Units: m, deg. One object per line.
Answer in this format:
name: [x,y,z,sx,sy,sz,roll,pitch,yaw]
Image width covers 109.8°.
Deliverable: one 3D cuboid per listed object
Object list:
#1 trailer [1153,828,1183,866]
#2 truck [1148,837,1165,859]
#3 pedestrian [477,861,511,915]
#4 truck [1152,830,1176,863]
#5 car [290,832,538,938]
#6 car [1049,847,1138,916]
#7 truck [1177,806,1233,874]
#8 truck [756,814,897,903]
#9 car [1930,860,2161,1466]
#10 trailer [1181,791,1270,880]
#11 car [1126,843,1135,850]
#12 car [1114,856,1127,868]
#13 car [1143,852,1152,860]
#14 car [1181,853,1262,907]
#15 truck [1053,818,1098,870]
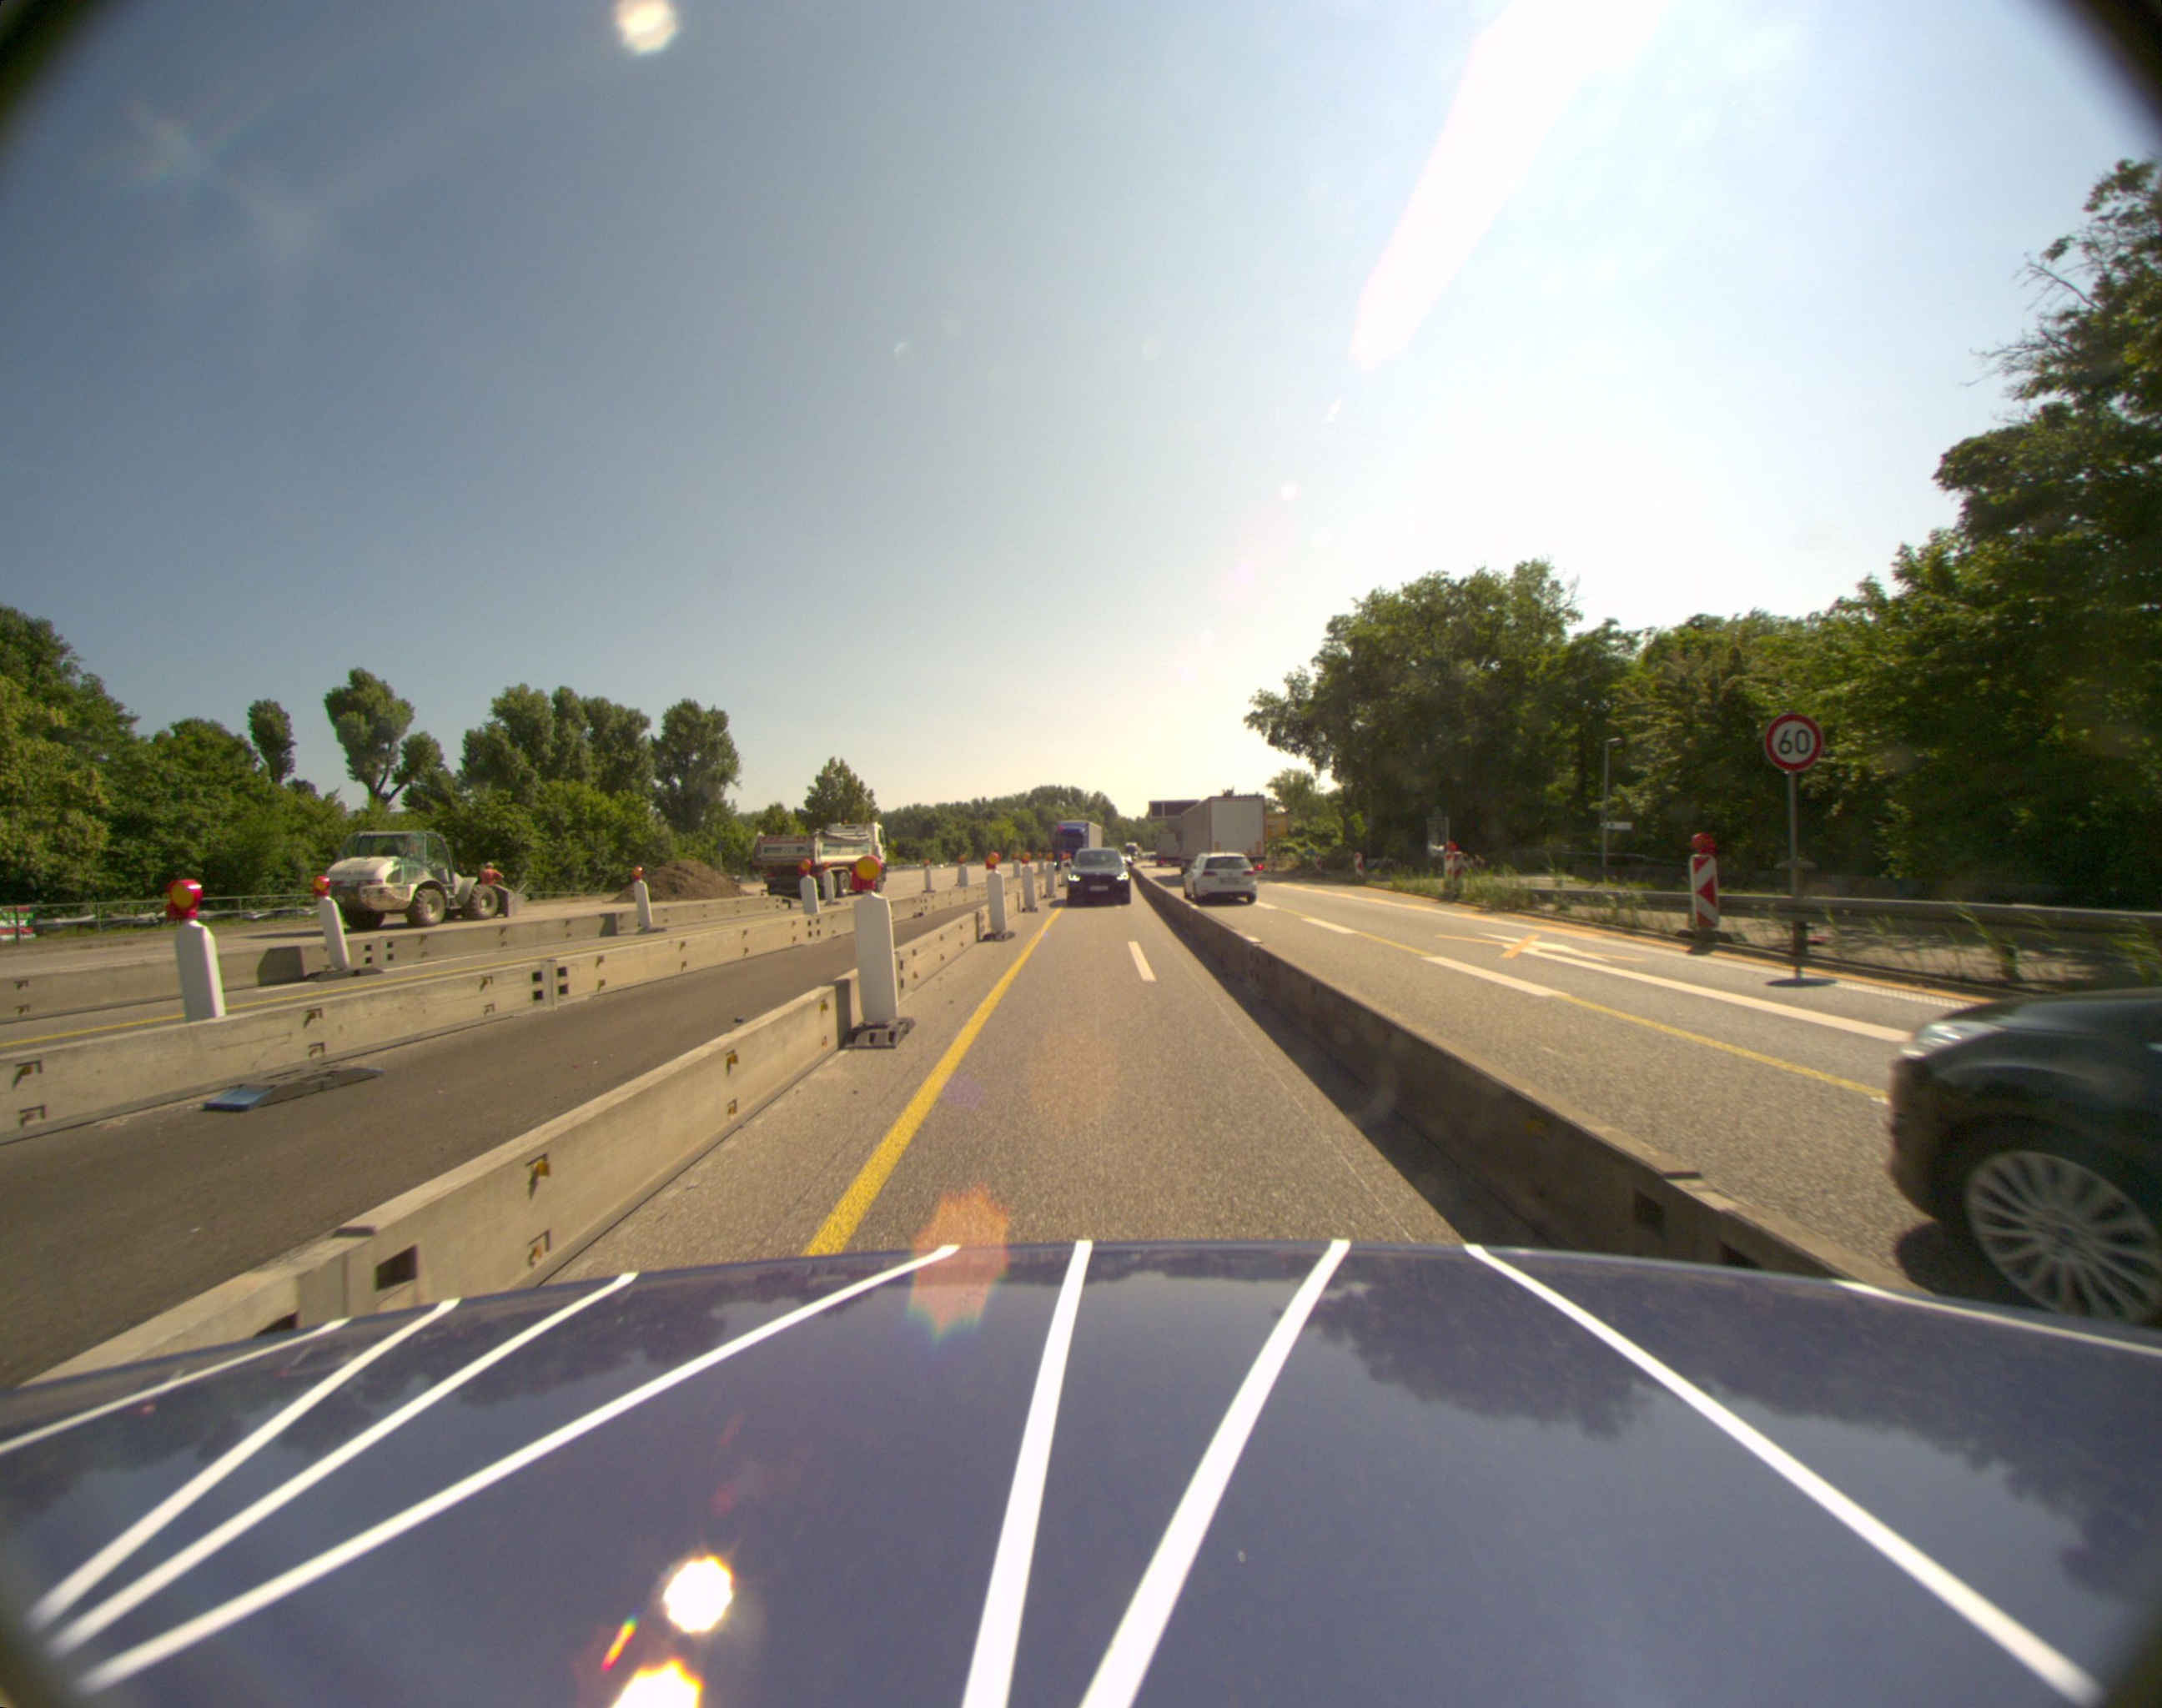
trailer: [10.223,-0.850,90.357,2.626,4.104,14.069,-1,1,3]
truck: [14.533,-1.249,146.579,3.052,4.081,7.644,-1,1,5]
pedestrian: [-19.530,1.119,25.279,0.666,1.738,0.532,-1,1,-3]
truck: [10.668,-0.951,97.908,2.626,4.104,6.507,-1,1,3]
car: [-18.718,0.741,21.901,2.110,2.627,5.982,-1,1,-4]
car: [0.484,0.703,21.823,1.788,1.651,4.489,-3,1,10]
truck: [7.758,-0.845,48.270,2.821,3.967,5.986,-1,0,2]
truck: [-10.904,0.135,33.732,2.605,3.413,8.737,-1,1,5]
car: [3.613,0.800,0.504,1.742,1.543,3.942,-2,0,1]
trailer: [7.472,-0.858,41.422,2.810,4.019,13.469,-1,0,2]
car: [11.004,-1.635,168.290,1.746,1.621,4.093,-1,1,5]
car: [5.425,1.100,104.918,1.747,1.621,4.093,-1,1,3]
car: [17.291,0.436,197.066,1.997,2.002,4.002,-1,1,7]
car: [4.115,0.719,22.840,1.818,1.409,4.154,-1,0,3]
truck: [-0.293,-0.810,62.200,2.860,3.962,8.667,-1,1,5]
